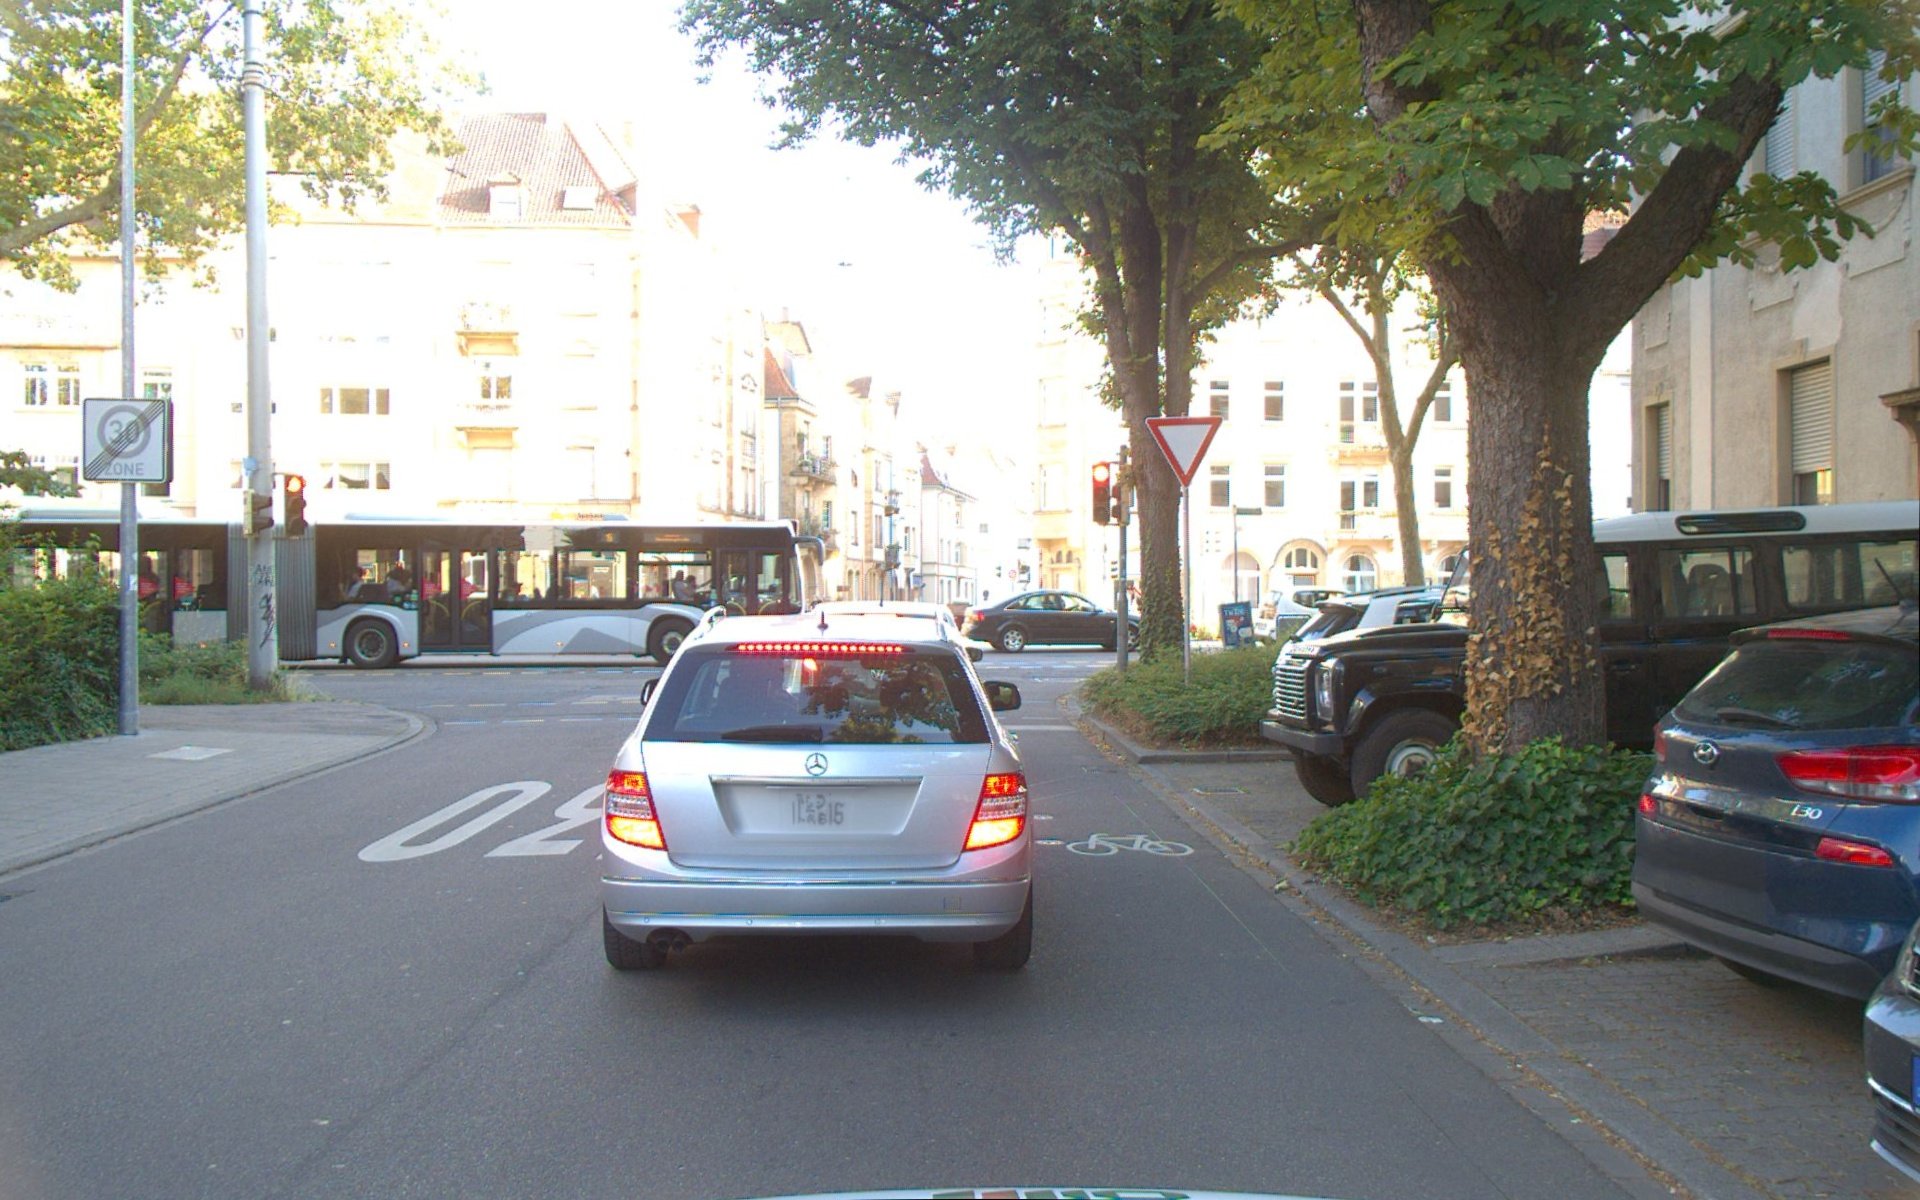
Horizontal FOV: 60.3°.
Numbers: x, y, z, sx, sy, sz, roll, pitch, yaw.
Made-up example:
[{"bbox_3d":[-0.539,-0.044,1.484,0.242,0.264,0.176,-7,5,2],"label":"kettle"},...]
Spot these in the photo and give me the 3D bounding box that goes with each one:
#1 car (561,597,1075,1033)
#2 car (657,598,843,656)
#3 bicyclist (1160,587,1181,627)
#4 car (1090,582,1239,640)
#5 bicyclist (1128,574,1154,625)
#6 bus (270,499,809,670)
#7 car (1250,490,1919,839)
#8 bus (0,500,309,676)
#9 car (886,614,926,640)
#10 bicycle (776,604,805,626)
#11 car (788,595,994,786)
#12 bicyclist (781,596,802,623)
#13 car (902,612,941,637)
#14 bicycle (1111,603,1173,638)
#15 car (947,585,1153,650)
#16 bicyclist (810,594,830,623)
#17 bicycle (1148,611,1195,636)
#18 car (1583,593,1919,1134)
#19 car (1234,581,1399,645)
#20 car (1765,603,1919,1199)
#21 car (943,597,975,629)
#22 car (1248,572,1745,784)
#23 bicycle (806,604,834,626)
[{"bbox_3d":[-0.576,0.730,7.928,1.741,1.477,4.546,0,0,-3],"label":"car"},{"bbox_3d":[-4.810,0.596,37.883,4.119,1.258,1.715,-1,0,-9],"label":"car"},{"bbox_3d":[7.616,0.250,59.797,0.631,1.451,0.636,0,0,-6],"label":"bicyclist"},{"bbox_3d":[5.355,0.277,43.528,3.618,1.475,1.513,-1,0,-9],"label":"car"},{"bbox_3d":[6.772,-0.007,61.832,0.874,1.892,0.636,0,0,-5],"label":"bicyclist"},{"bbox_3d":[-8.321,-0.356,33.864,10.258,3.257,2.906,-1,0,-9],"label":"bus"},{"bbox_3d":[4.339,0.380,11.188,4.377,2.071,1.699,-1,0,-4],"label":"car"},{"bbox_3d":[-17.336,-0.237,32.413,8.024,3.257,2.906,-1,0,-9],"label":"bus"},{"bbox_3d":[-3.176,1.577,97.943,1.796,1.427,4.003,0,1,7],"label":"car"},{"bbox_3d":[-7.590,0.663,74.229,0.754,0.956,1.942,0,1,10],"label":"bicycle"},{"bbox_3d":[-0.622,0.697,15.007,1.587,1.472,4.342,0,0,-3],"label":"car"},{"bbox_3d":[-7.573,0.437,74.307,0.754,1.177,0.753,0,0,10],"label":"bicyclist"},{"bbox_3d":[-2.382,1.508,103.448,1.796,1.427,4.003,0,1,7],"label":"car"},{"bbox_3d":[6.800,0.760,61.838,2.212,1.268,0.636,0,0,-6],"label":"bicycle"},{"bbox_3d":[2.096,0.388,39.116,4.602,1.453,1.715,-1,0,-9],"label":"car"},{"bbox_3d":[-6.292,0.375,74.338,0.754,1.312,0.753,0,0,10],"label":"bicyclist"},{"bbox_3d":[7.658,0.837,59.803,1.586,0.892,0.636,0,0,-6],"label":"bicycle"},{"bbox_3d":[4.262,0.697,5.585,3.650,1.477,1.707,-1,0,-5],"label":"car"},{"bbox_3d":[8.576,0.304,39.901,3.618,1.475,1.513,-1,0,-9],"label":"car"},{"bbox_3d":[4.040,0.705,3.377,3.973,1.477,1.721,-1,0,-5],"label":"car"},{"bbox_3d":[-0.041,0.912,118.311,1.749,2.242,4.003,0,1,7],"label":"car"},{"bbox_3d":[4.480,0.617,14.131,3.650,1.597,1.707,-1,0,-5],"label":"car"},{"bbox_3d":[-6.294,0.674,74.337,0.754,0.950,1.942,0,1,10],"label":"bicycle"}]
